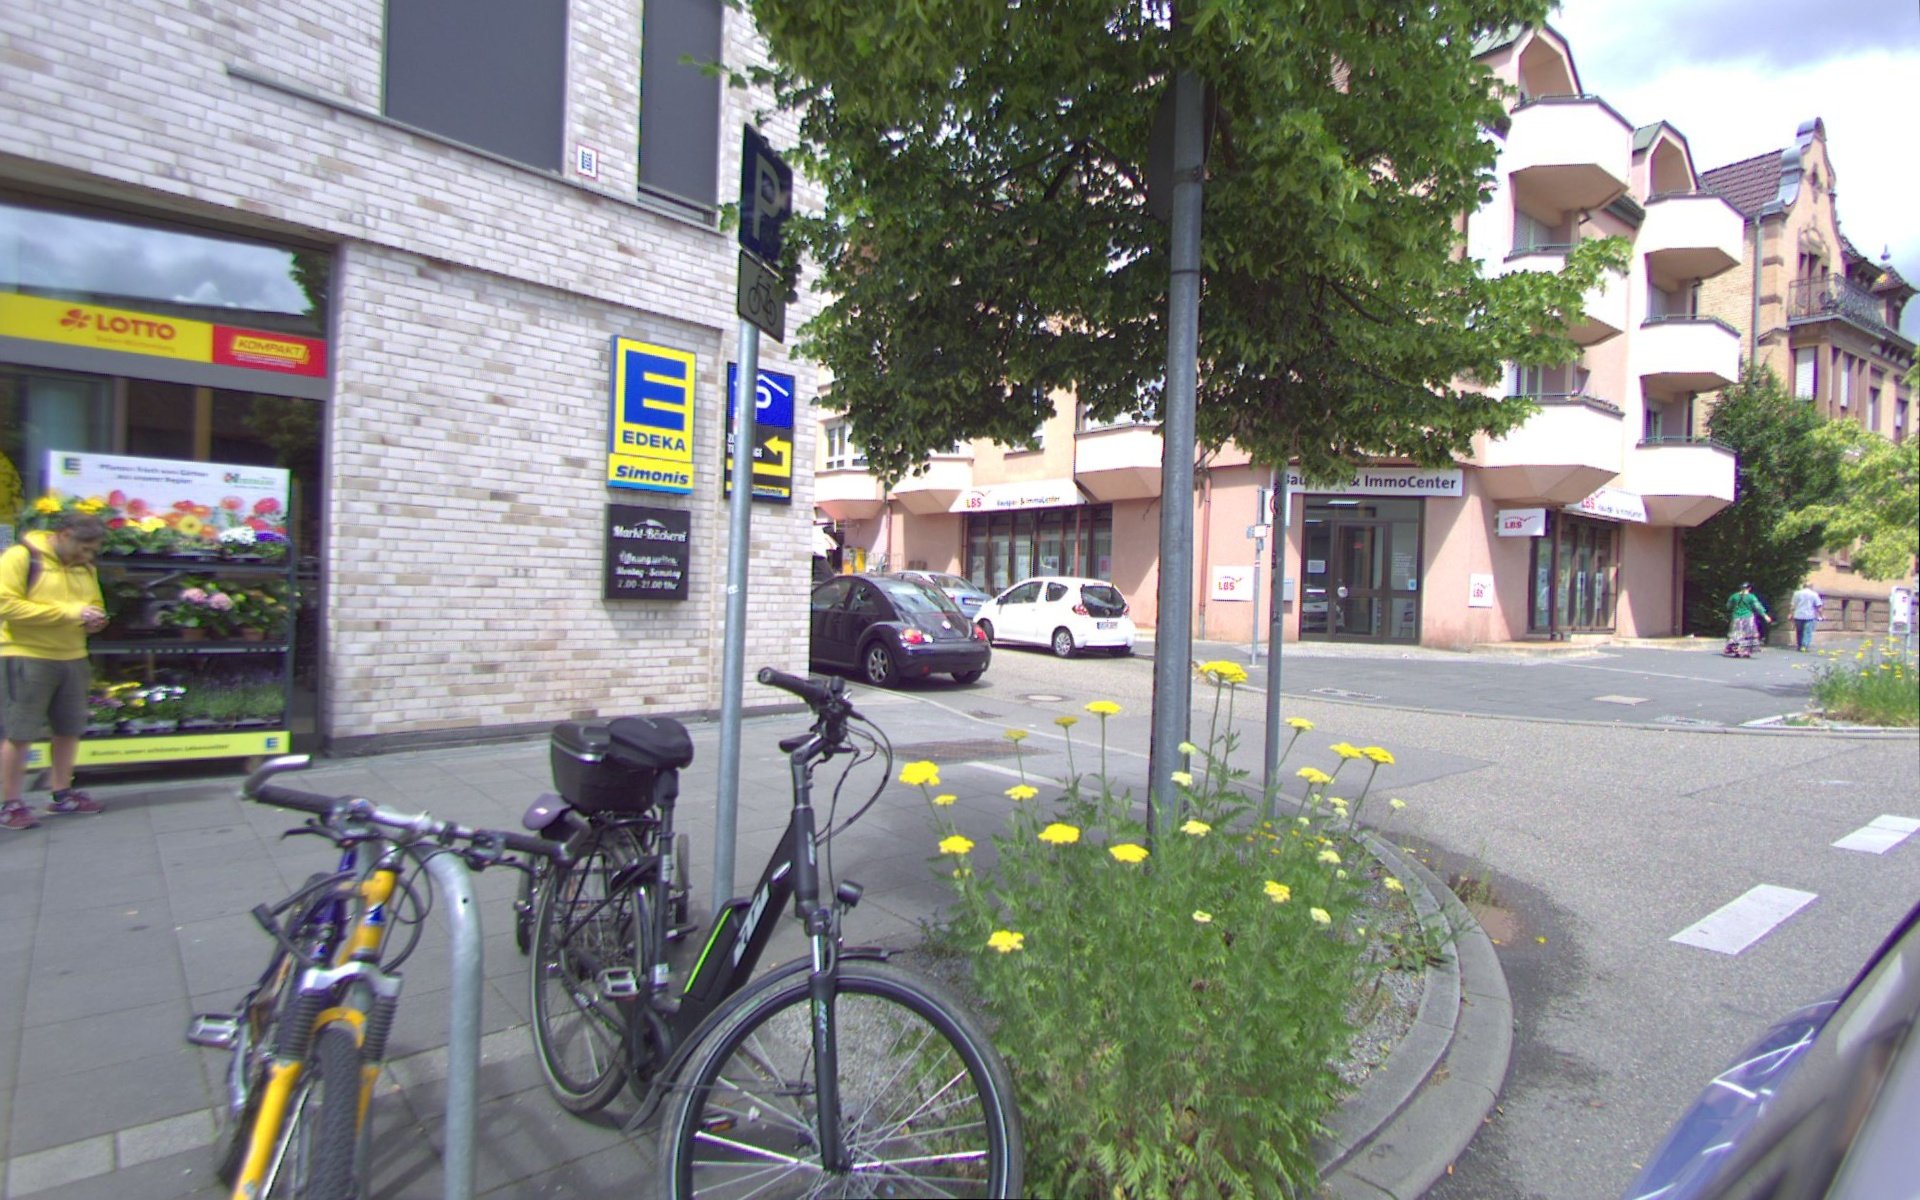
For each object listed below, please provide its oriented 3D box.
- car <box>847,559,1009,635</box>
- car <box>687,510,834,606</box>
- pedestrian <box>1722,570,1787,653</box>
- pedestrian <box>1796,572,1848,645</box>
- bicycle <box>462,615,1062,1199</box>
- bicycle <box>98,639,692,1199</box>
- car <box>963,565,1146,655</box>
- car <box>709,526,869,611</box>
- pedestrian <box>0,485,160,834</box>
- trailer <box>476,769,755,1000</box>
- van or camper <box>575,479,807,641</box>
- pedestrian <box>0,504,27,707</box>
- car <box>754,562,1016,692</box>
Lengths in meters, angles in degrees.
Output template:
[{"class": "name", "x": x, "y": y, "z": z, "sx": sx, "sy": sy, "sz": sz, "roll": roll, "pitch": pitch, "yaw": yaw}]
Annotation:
[{"class": "car", "x": -0.829, "y": -0.124, "z": 23.274, "sx": 1.797, "sy": 1.495, "sz": 4.024, "roll": 1, "pitch": 3, "yaw": -35}, {"class": "car", "x": -6.145, "y": -1.301, "z": 30.511, "sx": 2.087, "sy": 2.585, "sz": 5.907, "roll": 1, "pitch": 3, "yaw": -35}, {"class": "pedestrian", "x": 16.622, "y": 0.226, "z": 21.187, "sx": 0.909, "sy": 1.659, "sz": 0.747, "roll": 1, "pitch": 3, "yaw": -35}, {"class": "pedestrian", "x": 20.734, "y": 0.187, "z": 24.353, "sx": 0.927, "sy": 1.706, "sz": 0.718, "roll": -1, "pitch": 3, "yaw": -37}, {"class": "bicycle", "x": -0.663, "y": 0.709, "z": 2.669, "sx": 0.743, "sy": 1.215, "sz": 1.827, "roll": 0, "pitch": 3, "yaw": -40}, {"class": "bicycle", "x": -1.323, "y": 0.738, "z": 2.139, "sx": 0.743, "sy": 1.145, "sz": 1.827, "roll": 0, "pitch": 3, "yaw": -40}, {"class": "car", "x": 1.745, "y": 0.135, "z": 19.596, "sx": 1.686, "sy": 1.495, "sz": 3.393, "roll": 1, "pitch": 3, "yaw": -35}, {"class": "car", "x": -4.111, "y": -0.787, "z": 23.671, "sx": 1.961, "sy": 1.768, "sz": 4.535, "roll": 1, "pitch": 3, "yaw": -34}, {"class": "pedestrian", "x": -4.748, "y": 0.283, "z": 5.288, "sx": 0.619, "sy": 1.713, "sz": 0.661, "roll": 1, "pitch": 1, "yaw": -7}, {"class": "trailer", "x": -1.280, "y": 0.991, "z": 3.741, "sx": 0.796, "sy": 0.535, "sz": 0.722, "roll": 0, "pitch": 1, "yaw": -37}, {"class": "van or camper", "x": -5.772, "y": -0.934, "z": 20.785, "sx": 2.235, "sy": 2.768, "sz": 6.879, "roll": -1, "pitch": 4, "yaw": -36}, {"class": "pedestrian", "x": -8.648, "y": 0.051, "z": 8.803, "sx": 0.727, "sy": 1.748, "sz": 0.661, "roll": -1, "pitch": 1, "yaw": -40}, {"class": "car", "x": -1.198, "y": 0.284, "z": 14.613, "sx": 1.752, "sy": 1.495, "sz": 3.902, "roll": 0, "pitch": 3, "yaw": -41}]
